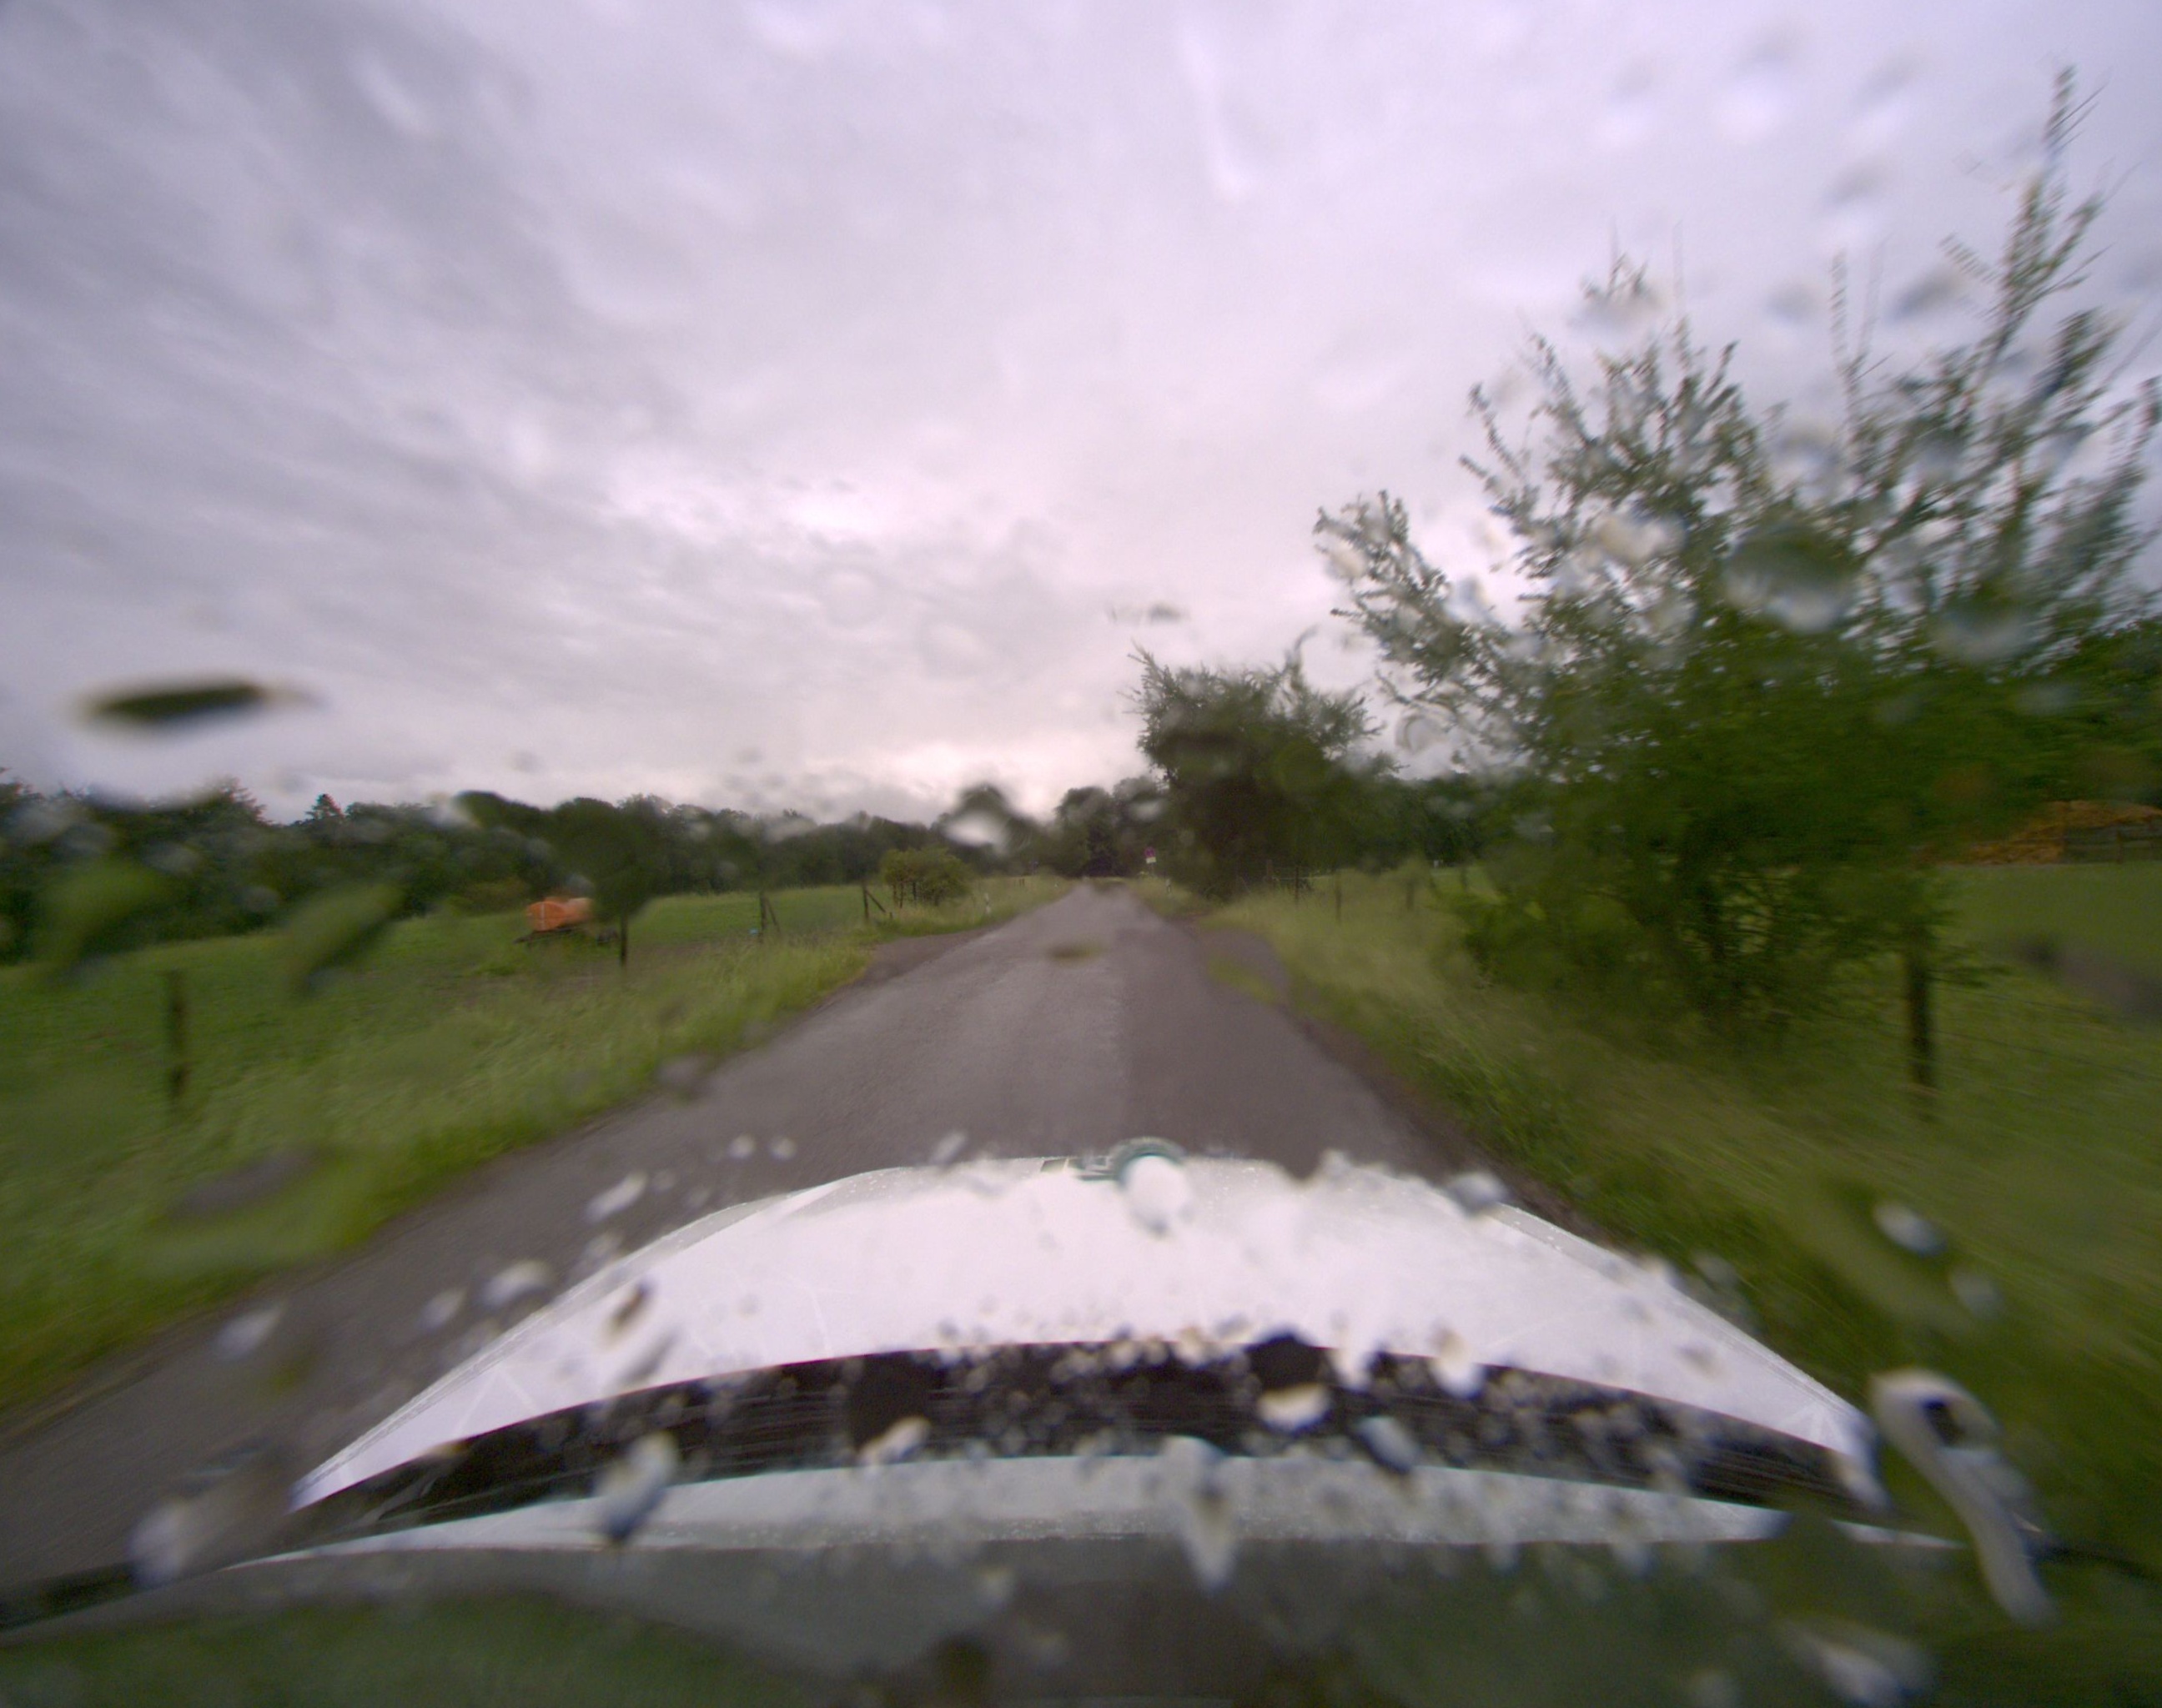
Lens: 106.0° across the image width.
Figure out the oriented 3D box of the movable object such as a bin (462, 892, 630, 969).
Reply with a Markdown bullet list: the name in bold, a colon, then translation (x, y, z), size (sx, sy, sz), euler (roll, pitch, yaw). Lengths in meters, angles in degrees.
- **movable object such as a bin**: translation (-12.729, 1.770, 19.639), size (1.673, 1.571, 3.537), euler (-2, -2, 0)
